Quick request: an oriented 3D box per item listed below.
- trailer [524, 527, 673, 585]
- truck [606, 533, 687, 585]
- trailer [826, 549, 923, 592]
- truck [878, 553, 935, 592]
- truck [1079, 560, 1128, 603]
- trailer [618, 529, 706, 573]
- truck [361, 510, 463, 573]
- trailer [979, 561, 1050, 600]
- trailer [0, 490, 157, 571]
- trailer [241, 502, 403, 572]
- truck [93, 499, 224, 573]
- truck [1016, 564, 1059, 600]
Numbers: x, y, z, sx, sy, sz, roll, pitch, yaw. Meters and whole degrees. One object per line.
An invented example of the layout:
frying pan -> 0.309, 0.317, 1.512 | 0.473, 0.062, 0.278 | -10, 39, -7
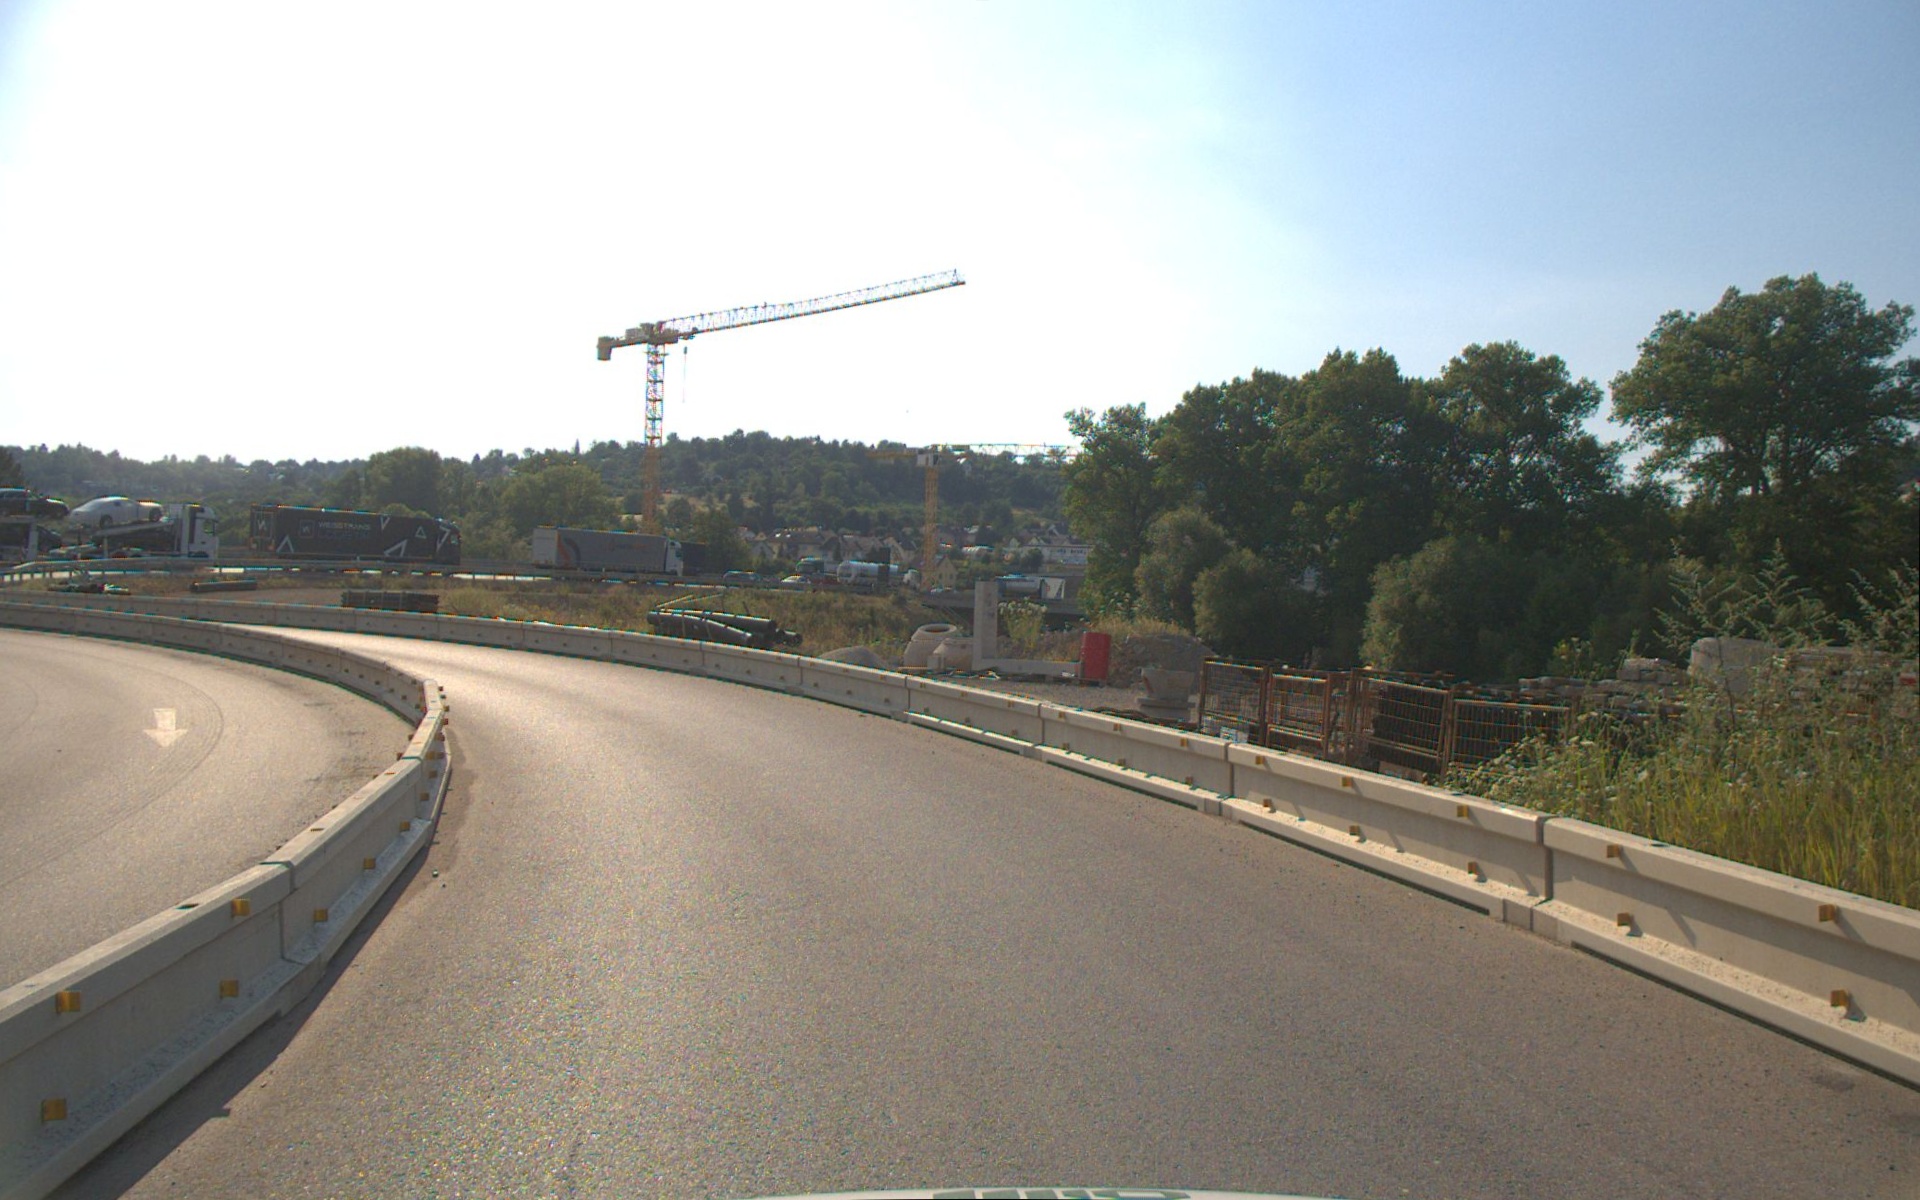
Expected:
trailer -> -29.492, -3.545, 136.160 | 3.320, 4.066, 14.727 | 3, 0, 27
truck -> -26.760, -3.475, 141.575 | 3.279, 4.066, 6.616 | 3, 0, 27
trailer -> -9.004, -3.072, 176.552 | 3.320, 4.066, 14.727 | 3, 0, 27
truck -> -5.860, -3.001, 182.768 | 3.325, 4.066, 6.616 | 3, 0, 27
truck -> 20.731, -2.623, 238.091 | 3.104, 5.973, 10.659 | 1, 0, 28
trailer -> -28.376, -4.639, 158.127 | 2.949, 3.817, 9.556 | 1, 0, 28
truck -> -38.980, -4.126, 117.806 | 2.830, 4.066, 6.614 | 3, 0, 28
trailer -> 7.026, -2.392, 207.790 | 3.044, 4.389, 14.234 | 3, 0, 27
trailer -> -52.446, -3.954, 91.628 | 2.802, 4.066, 15.727 | 3, 0, 27
trailer -> -42.630, -4.143, 111.000 | 2.902, 4.163, 10.777 | 2, 0, 28
truck -> -48.292, -3.803, 99.836 | 2.794, 4.066, 6.616 | 3, 0, 27
truck -> 10.035, -2.314, 213.741 | 3.038, 4.360, 6.616 | 3, 0, 27
